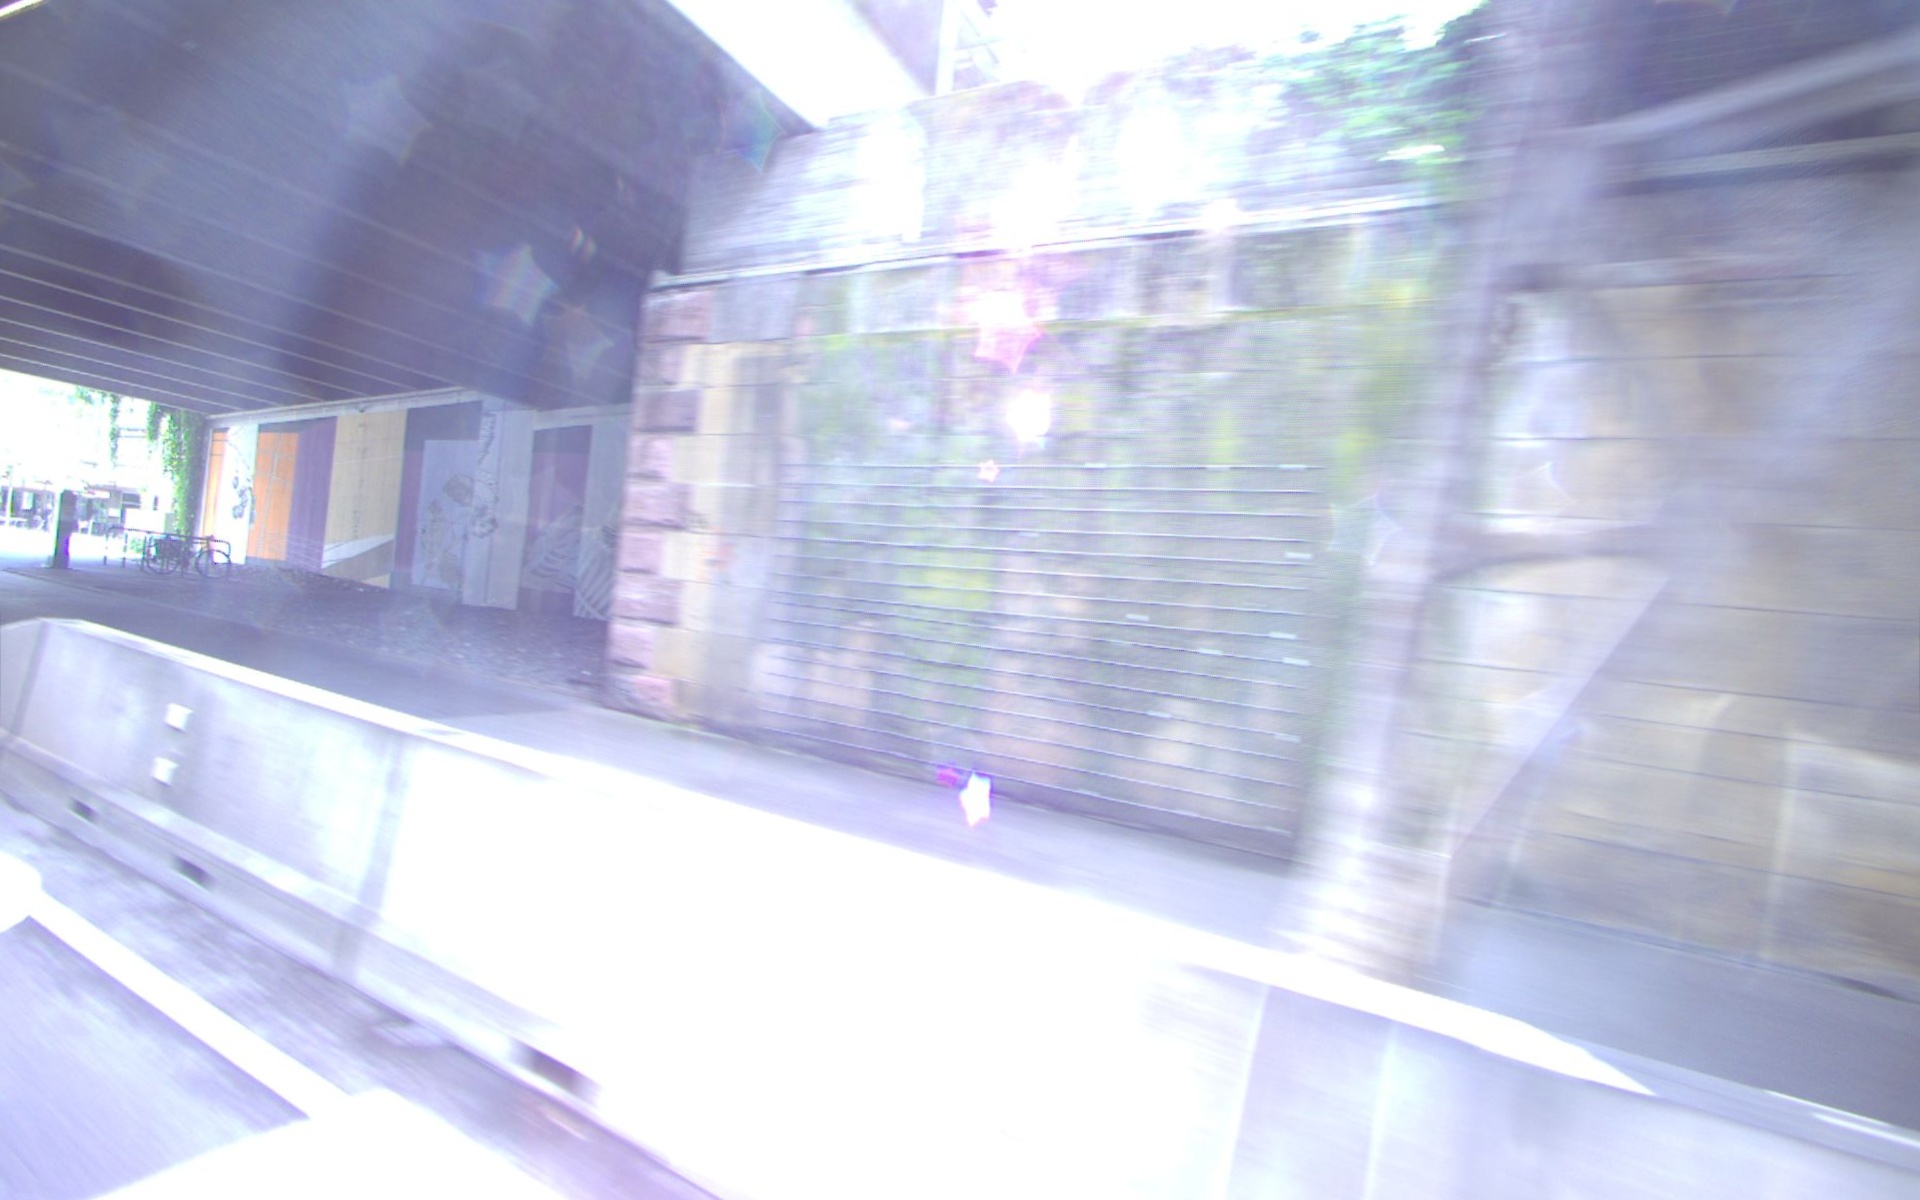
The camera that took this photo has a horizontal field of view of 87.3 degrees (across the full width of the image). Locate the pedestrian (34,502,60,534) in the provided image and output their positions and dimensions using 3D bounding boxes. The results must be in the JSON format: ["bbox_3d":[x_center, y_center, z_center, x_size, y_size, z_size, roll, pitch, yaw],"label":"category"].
[{"bbox_3d":[-51.692,-4.646,56.955,0.605,1.694,0.698,7,0,10],"label":"pedestrian"}]

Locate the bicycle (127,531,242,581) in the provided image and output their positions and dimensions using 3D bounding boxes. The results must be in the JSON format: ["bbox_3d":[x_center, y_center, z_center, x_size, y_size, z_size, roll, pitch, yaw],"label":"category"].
[{"bbox_3d":[-17.298,-0.968,22.497,0.498,0.915,1.948,6,0,29],"label":"bicycle"}]
